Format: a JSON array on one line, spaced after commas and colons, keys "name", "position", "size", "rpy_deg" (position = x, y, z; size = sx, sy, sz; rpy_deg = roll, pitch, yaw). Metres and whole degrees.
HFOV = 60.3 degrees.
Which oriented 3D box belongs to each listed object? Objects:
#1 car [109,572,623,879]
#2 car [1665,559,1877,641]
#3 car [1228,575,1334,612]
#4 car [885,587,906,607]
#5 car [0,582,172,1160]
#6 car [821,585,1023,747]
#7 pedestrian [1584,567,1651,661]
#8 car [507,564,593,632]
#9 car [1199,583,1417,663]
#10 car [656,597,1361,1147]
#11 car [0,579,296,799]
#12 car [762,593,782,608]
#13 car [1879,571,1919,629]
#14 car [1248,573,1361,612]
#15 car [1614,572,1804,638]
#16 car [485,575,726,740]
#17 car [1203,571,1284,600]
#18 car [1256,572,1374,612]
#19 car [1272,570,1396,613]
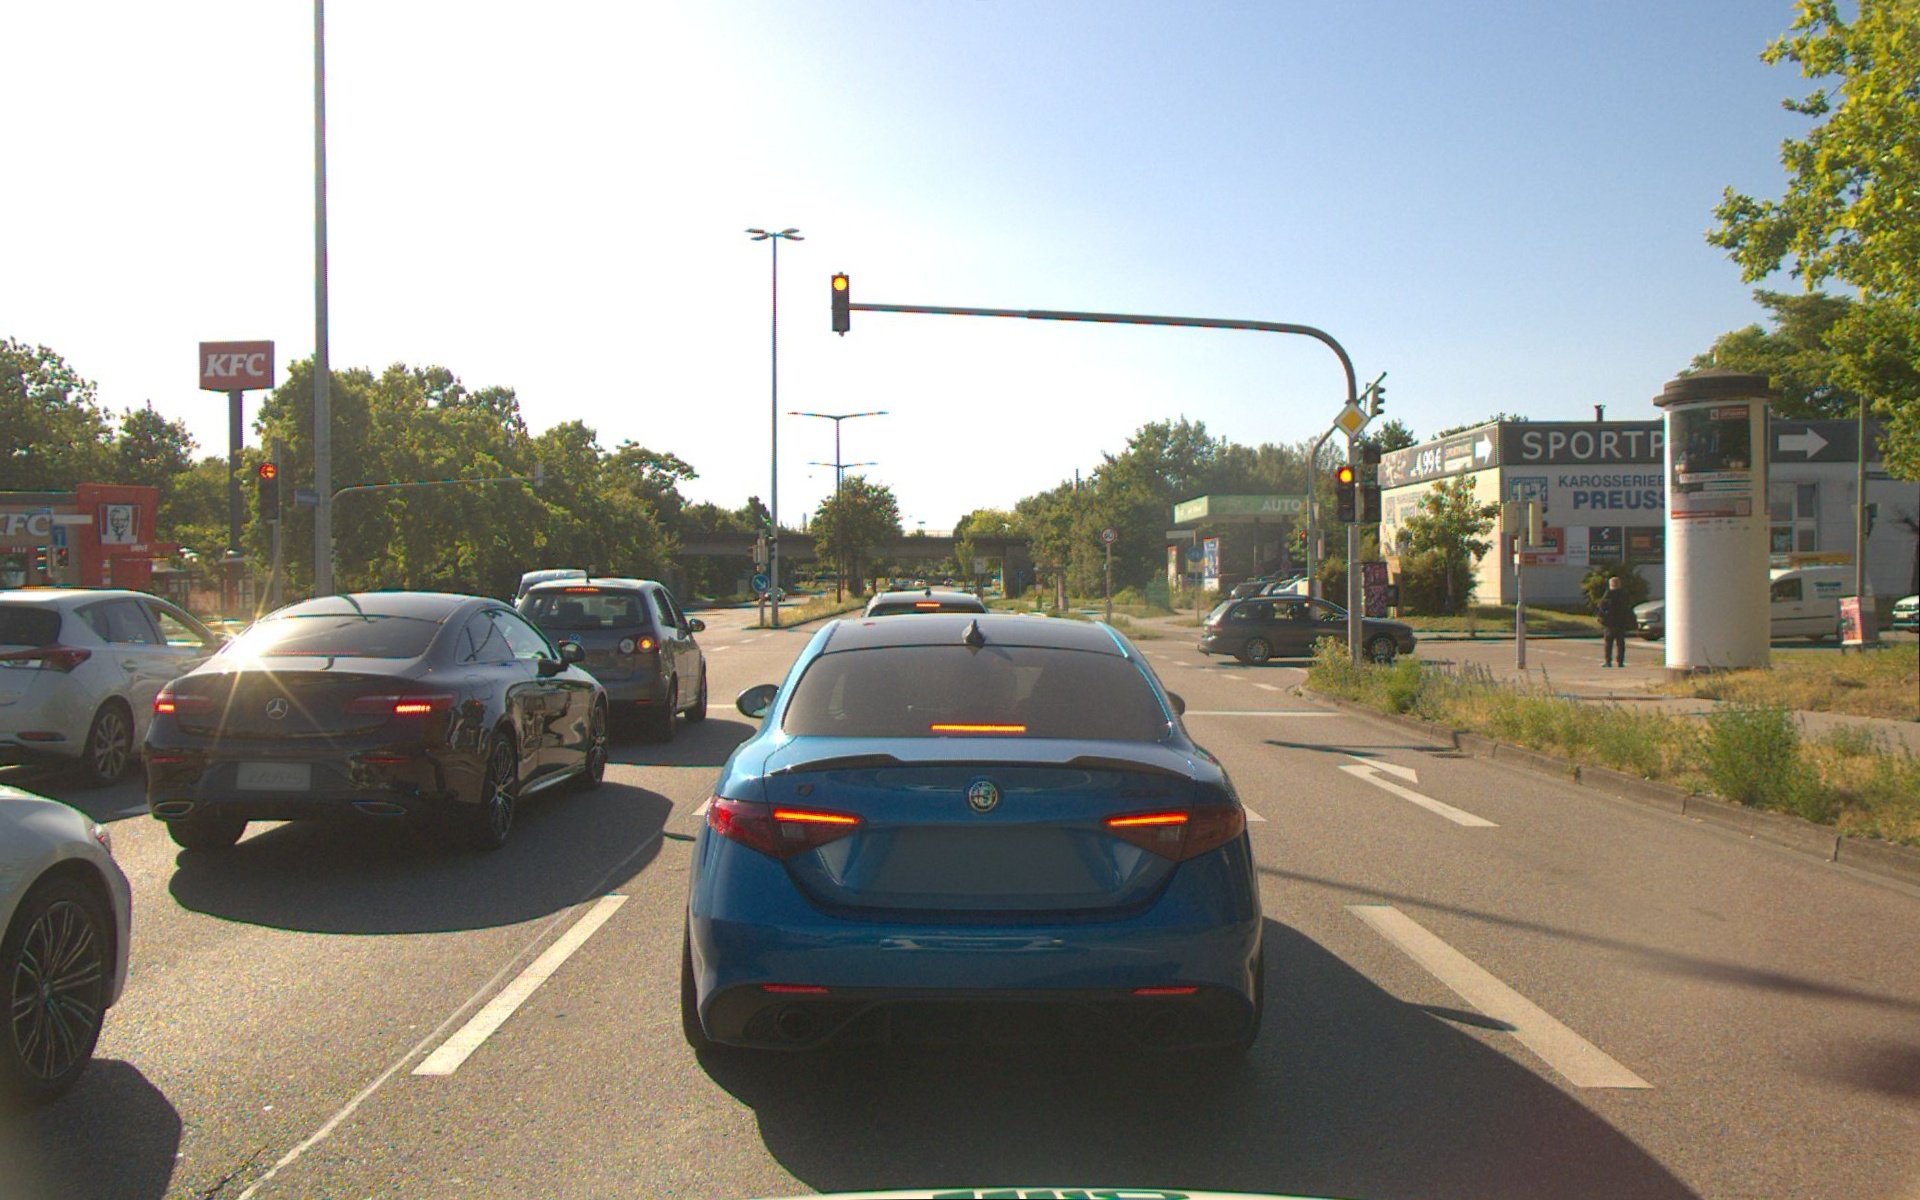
[{"name": "car", "position": [-3.437, 0.642, 10.560], "size": [1.760, 1.516, 4.474], "rpy_deg": [1, 0, -2]}, {"name": "car", "position": [19.580, -0.024, 40.040], "size": [4.293, 1.833, 1.764], "rpy_deg": [-1, 2, -2]}, {"name": "car", "position": [14.400, -0.293, 74.383], "size": [4.397, 1.479, 1.858], "rpy_deg": [-2, 0, 1]}, {"name": "car", "position": [-6.224, -0.270, 159.319], "size": [1.853, 1.847, 3.999], "rpy_deg": [1, 0, -1]}, {"name": "car", "position": [-3.342, 0.691, 3.055], "size": [1.749, 1.516, 4.401], "rpy_deg": [1, 0, -2]}, {"name": "car", "position": [-0.412, 0.606, 17.229], "size": [1.813, 1.443, 4.401], "rpy_deg": [1, 0, -2]}, {"name": "pedestrian", "position": [12.714, 0.272, 32.001], "size": [0.906, 1.765, 0.938], "rpy_deg": [1, -1, -1]}, {"name": "car", "position": [-16.392, -0.091, 66.438], "size": [1.981, 2.489, 5.820], "rpy_deg": [-3, 0, -1]}, {"name": "car", "position": [7.476, 0.479, 35.781], "size": [4.320, 1.516, 1.765], "rpy_deg": [-2, 0, 1]}, {"name": "car", "position": [0.070, 0.737, 6.601], "size": [1.857, 1.443, 4.401], "rpy_deg": [1, 0, -2]}, {"name": "car", "position": [-7.103, 0.614, 13.542], "size": [1.723, 1.516, 4.195], "rpy_deg": [1, 0, -2]}, {"name": "car", "position": [-20.776, 0.041, 183.110], "size": [1.723, 1.516, 4.477], "rpy_deg": [-2, 0, -1]}, {"name": "car", "position": [26.808, -0.064, 43.782], "size": [3.960, 1.516, 1.782], "rpy_deg": [-2, 0, -3]}, {"name": "car", "position": [14.628, -0.301, 70.336], "size": [4.397, 1.479, 1.858], "rpy_deg": [-2, 0, 1]}, {"name": "car", "position": [19.596, 0.108, 43.385], "size": [4.201, 1.576, 1.764], "rpy_deg": [-1, 2, -2]}, {"name": "car", "position": [-3.622, 0.545, 17.658], "size": [1.723, 1.516, 4.401], "rpy_deg": [1, 0, -2]}, {"name": "car", "position": [16.722, -0.854, 97.591], "size": [4.457, 1.516, 1.765], "rpy_deg": [-2, 0, 1]}, {"name": "car", "position": [14.485, -0.324, 67.580], "size": [4.397, 1.479, 1.858], "rpy_deg": [-2, 0, 1]}, {"name": "car", "position": [14.608, -0.325, 64.803], "size": [4.397, 1.479, 1.858], "rpy_deg": [-2, 0, 1]}]
